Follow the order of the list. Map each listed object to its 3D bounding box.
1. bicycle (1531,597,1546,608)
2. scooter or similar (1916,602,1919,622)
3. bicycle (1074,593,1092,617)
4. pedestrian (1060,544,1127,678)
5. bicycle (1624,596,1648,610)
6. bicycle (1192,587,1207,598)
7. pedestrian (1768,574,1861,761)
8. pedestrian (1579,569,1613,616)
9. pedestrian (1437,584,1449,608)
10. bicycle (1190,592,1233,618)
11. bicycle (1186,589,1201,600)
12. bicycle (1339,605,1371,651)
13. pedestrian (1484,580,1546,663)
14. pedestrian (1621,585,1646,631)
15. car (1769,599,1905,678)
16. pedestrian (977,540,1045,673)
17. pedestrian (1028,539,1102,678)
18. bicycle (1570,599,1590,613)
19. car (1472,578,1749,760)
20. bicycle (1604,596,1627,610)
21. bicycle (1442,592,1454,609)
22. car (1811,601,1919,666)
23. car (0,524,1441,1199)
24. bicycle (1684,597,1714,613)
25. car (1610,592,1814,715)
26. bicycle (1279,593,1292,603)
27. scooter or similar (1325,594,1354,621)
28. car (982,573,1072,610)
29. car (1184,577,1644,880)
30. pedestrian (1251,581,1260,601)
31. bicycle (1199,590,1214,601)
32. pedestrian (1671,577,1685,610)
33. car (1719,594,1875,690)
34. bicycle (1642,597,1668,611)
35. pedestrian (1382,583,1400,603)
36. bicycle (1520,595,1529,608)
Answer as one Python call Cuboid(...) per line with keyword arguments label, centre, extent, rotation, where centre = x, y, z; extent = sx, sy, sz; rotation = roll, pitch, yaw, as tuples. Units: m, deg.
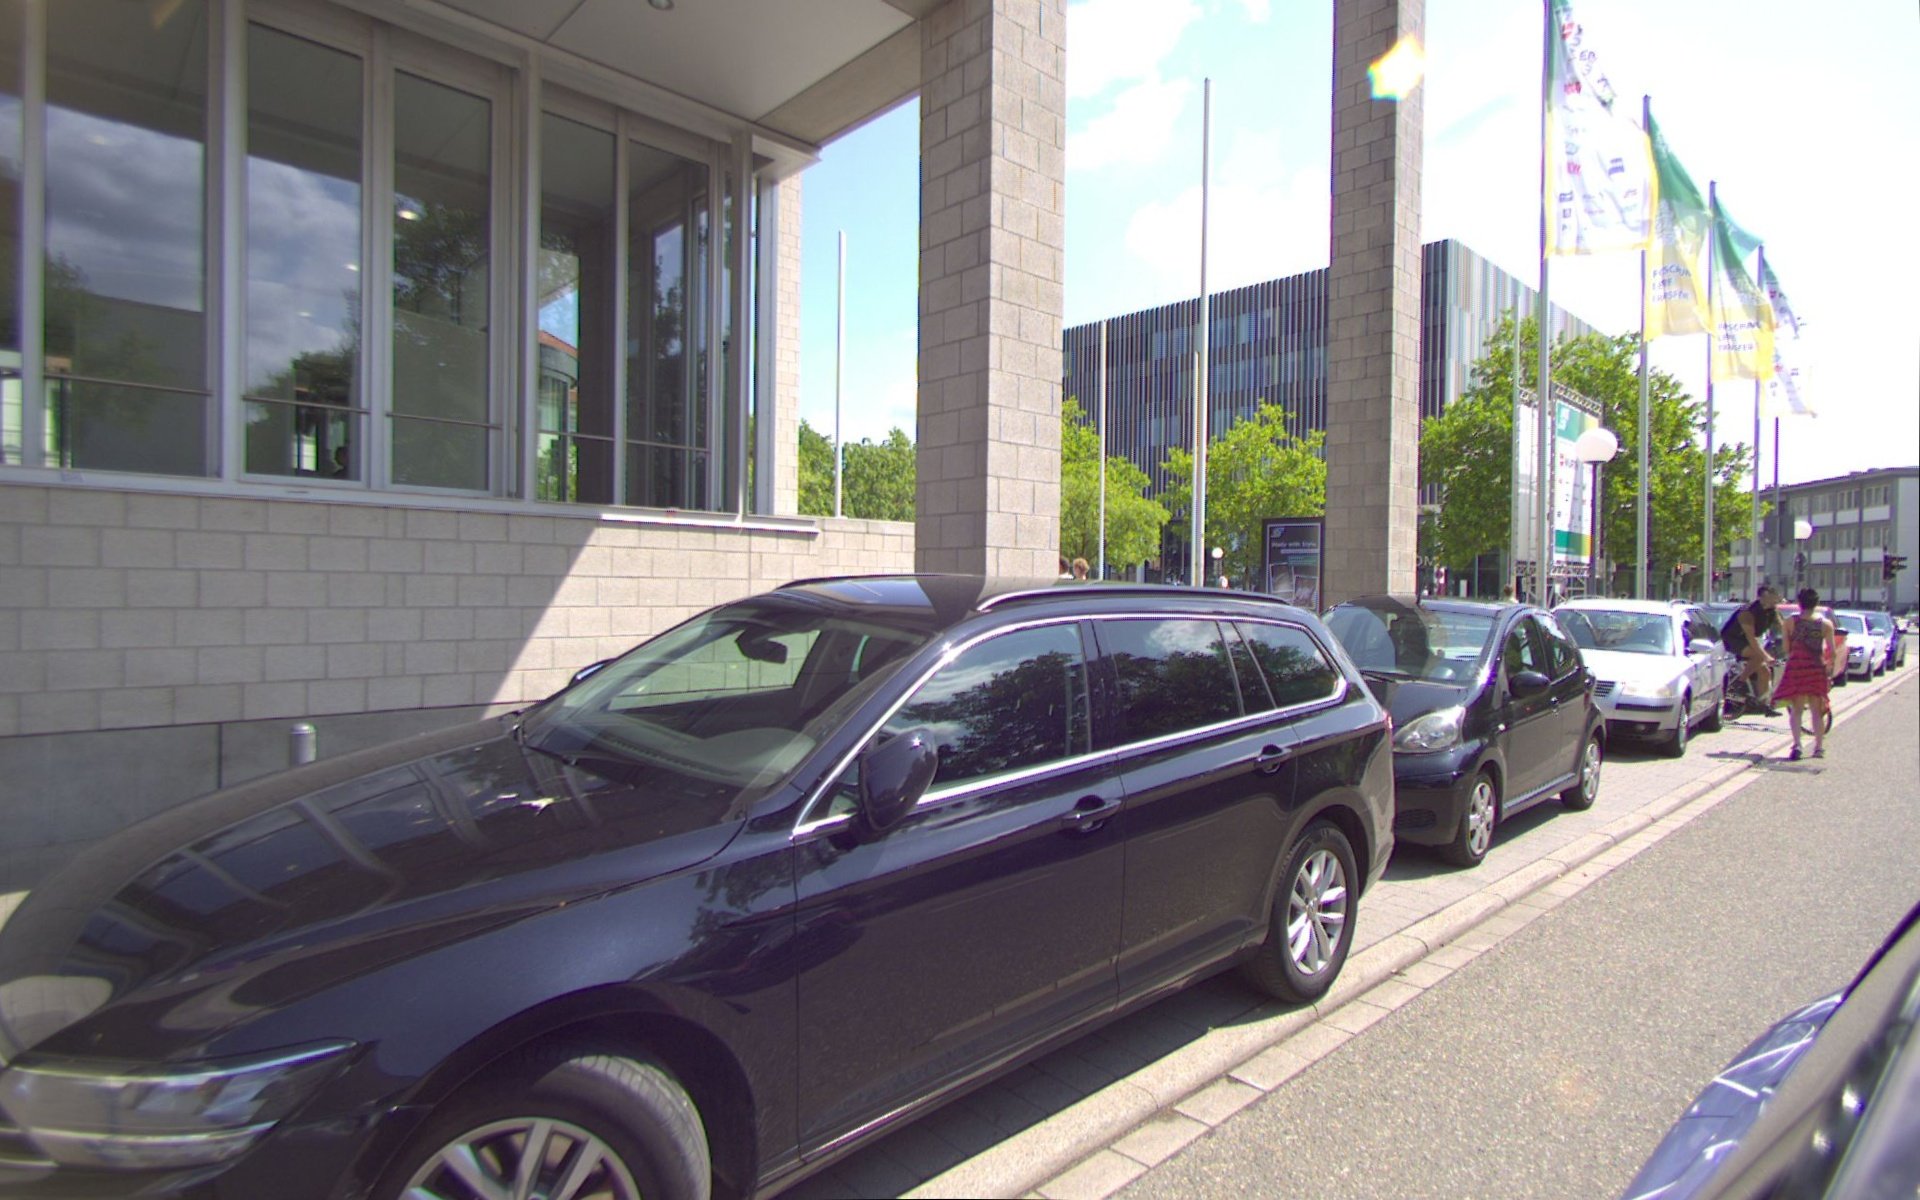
Cuboid(label="bicycle", centre=(43.273, 0.181, 75.756), extent=(0.521, 0.773, 1.765), rotation=(1, 2, 15))
Cuboid(label="scooter or similar", centre=(51.634, 0.648, 54.024), extent=(0.398, 1.080, 1.144), rotation=(0, 1, 20))
Cuboid(label="bicycle", centre=(5.953, 0.227, 48.911), extent=(0.595, 1.112, 1.759), rotation=(0, 2, 16))
Cuboid(label="pedestrian", centre=(1.999, 0.154, 15.167), extent=(0.584, 1.950, 0.784), rotation=(0, 0, -45))
Cuboid(label="bicycle", centre=(49.598, 0.232, 74.262), extent=(0.519, 0.967, 1.773), rotation=(0, 1, 1))
Cuboid(label="bicycle", centre=(22.132, -0.717, 93.494), extent=(1.515, 0.967, 0.374), rotation=(-2, 2, -28))
Cuboid(label="pedestrian", centre=(8.475, 0.622, 10.033), extent=(0.623, 1.738, 1.024), rotation=(1, 1, 43))
Cuboid(label="pedestrian", centre=(26.770, -0.327, 42.583), extent=(1.156, 1.842, 0.855), rotation=(5, -1, -44))
Cuboid(label="pedestrian", centre=(36.752, -0.304, 77.013), extent=(0.783, 1.865, 0.511), rotation=(0, 0, 33))
Cuboid(label="bicycle", centre=(12.217, 0.236, 49.212), extent=(0.784, 1.198, 2.033), rotation=(-1, 2, -32))
Cuboid(label="bicycle", centre=(21.681, -0.540, 94.045), extent=(1.515, 0.967, 0.374), rotation=(-2, 2, -28))
Cuboid(label="bicycle", centre=(10.334, 0.720, 26.513), extent=(0.599, 1.152, 1.579), rotation=(2, 0, 17))
Cuboid(label="pedestrian", centre=(12.198, 0.445, 22.227), extent=(0.985, 1.762, 0.919), rotation=(0, 1, -43))
Cuboid(label="pedestrian", centre=(27.742, 0.330, 41.677), extent=(0.598, 1.824, 0.597), rotation=(2, -1, -17))
Cuboid(label="car", centre=(19.022, 0.750, 21.883), extent=(4.364, 1.417, 1.721), rotation=(0, 4, -43))
Cuboid(label="pedestrian", centre=(0.787, 0.088, 15.454), extent=(0.723, 1.950, 0.740), rotation=(1, 0, 42))
Cuboid(label="pedestrian", centre=(1.516, 0.112, 14.649), extent=(0.722, 1.950, 0.782), rotation=(0, 0, -44))
Cuboid(label="bicycle", centre=(46.020, 0.436, 75.135), extent=(0.519, 0.967, 1.772), rotation=(-3, 2, 4))
Cuboid(label="car", centre=(7.310, 0.592, 11.162), extent=(1.720, 1.548, 4.494), rotation=(4, 3, 43))
Cuboid(label="bicycle", centre=(48.159, 0.182, 74.372), extent=(0.519, 0.967, 1.773), rotation=(0, 1, 1))
Cuboid(label="bicycle", centre=(37.115, 0.032, 76.962), extent=(1.521, 1.201, 0.372), rotation=(-3, 4, -45))
Cuboid(label="car", centre=(23.268, 0.784, 25.852), extent=(4.865, 1.417, 1.721), rotation=(0, 3, -43))
Cuboid(label="car", centre=(-0.262, 0.629, 3.326), extent=(4.444, 1.483, 1.868), rotation=(0, 1, -44))
Cuboid(label="bicycle", centre=(48.313, 0.327, 66.204), extent=(0.518, 0.967, 1.776), rotation=(0, 2, -5))
Cuboid(label="car", centre=(11.202, 0.679, 14.976), extent=(3.932, 1.548, 1.721), rotation=(0, 1, -43))
Cuboid(label="bicycle", centre=(28.300, -0.177, 87.964), extent=(1.519, 0.785, 0.373), rotation=(-2, 2, -40))
Cuboid(label="scooter or similar", centre=(16.940, 0.320, 45.193), extent=(0.347, 1.180, 1.190), rotation=(-2, 2, -42))
Cuboid(label="car", centre=(3.628, -0.497, 55.312), extent=(4.928, 1.888, 1.873), rotation=(2, 2, 45))
Cuboid(label="car", centre=(3.339, 0.628, 7.030), extent=(3.941, 1.515, 1.615), rotation=(0, 1, -45))
Cuboid(label="pedestrian", centre=(26.760, -0.821, 91.584), extent=(0.552, 1.865, 0.554), rotation=(1, 1, 40))
Cuboid(label="bicycle", centre=(22.691, -0.420, 93.250), extent=(1.515, 0.967, 0.374), rotation=(-2, 2, -28))
Cuboid(label="pedestrian", centre=(40.836, -0.394, 57.558), extent=(0.628, 1.865, 0.474), rotation=(1, 1, 33))
Cuboid(label="car", centre=(15.572, 0.701, 18.759), extent=(4.076, 1.515, 1.617), rotation=(0, 3, -43))
Cuboid(label="bicycle", centre=(51.031, 0.254, 74.311), extent=(0.518, 0.967, 1.776), rotation=(0, 2, -5))
Cuboid(label="pedestrian", centre=(36.012, -0.574, 84.554), extent=(1.162, 1.671, 1.013), rotation=(0, 1, -42))
Cuboid(label="bicycle", centre=(42.429, 0.095, 76.110), extent=(0.524, 0.967, 1.757), rotation=(1, 2, 27))
